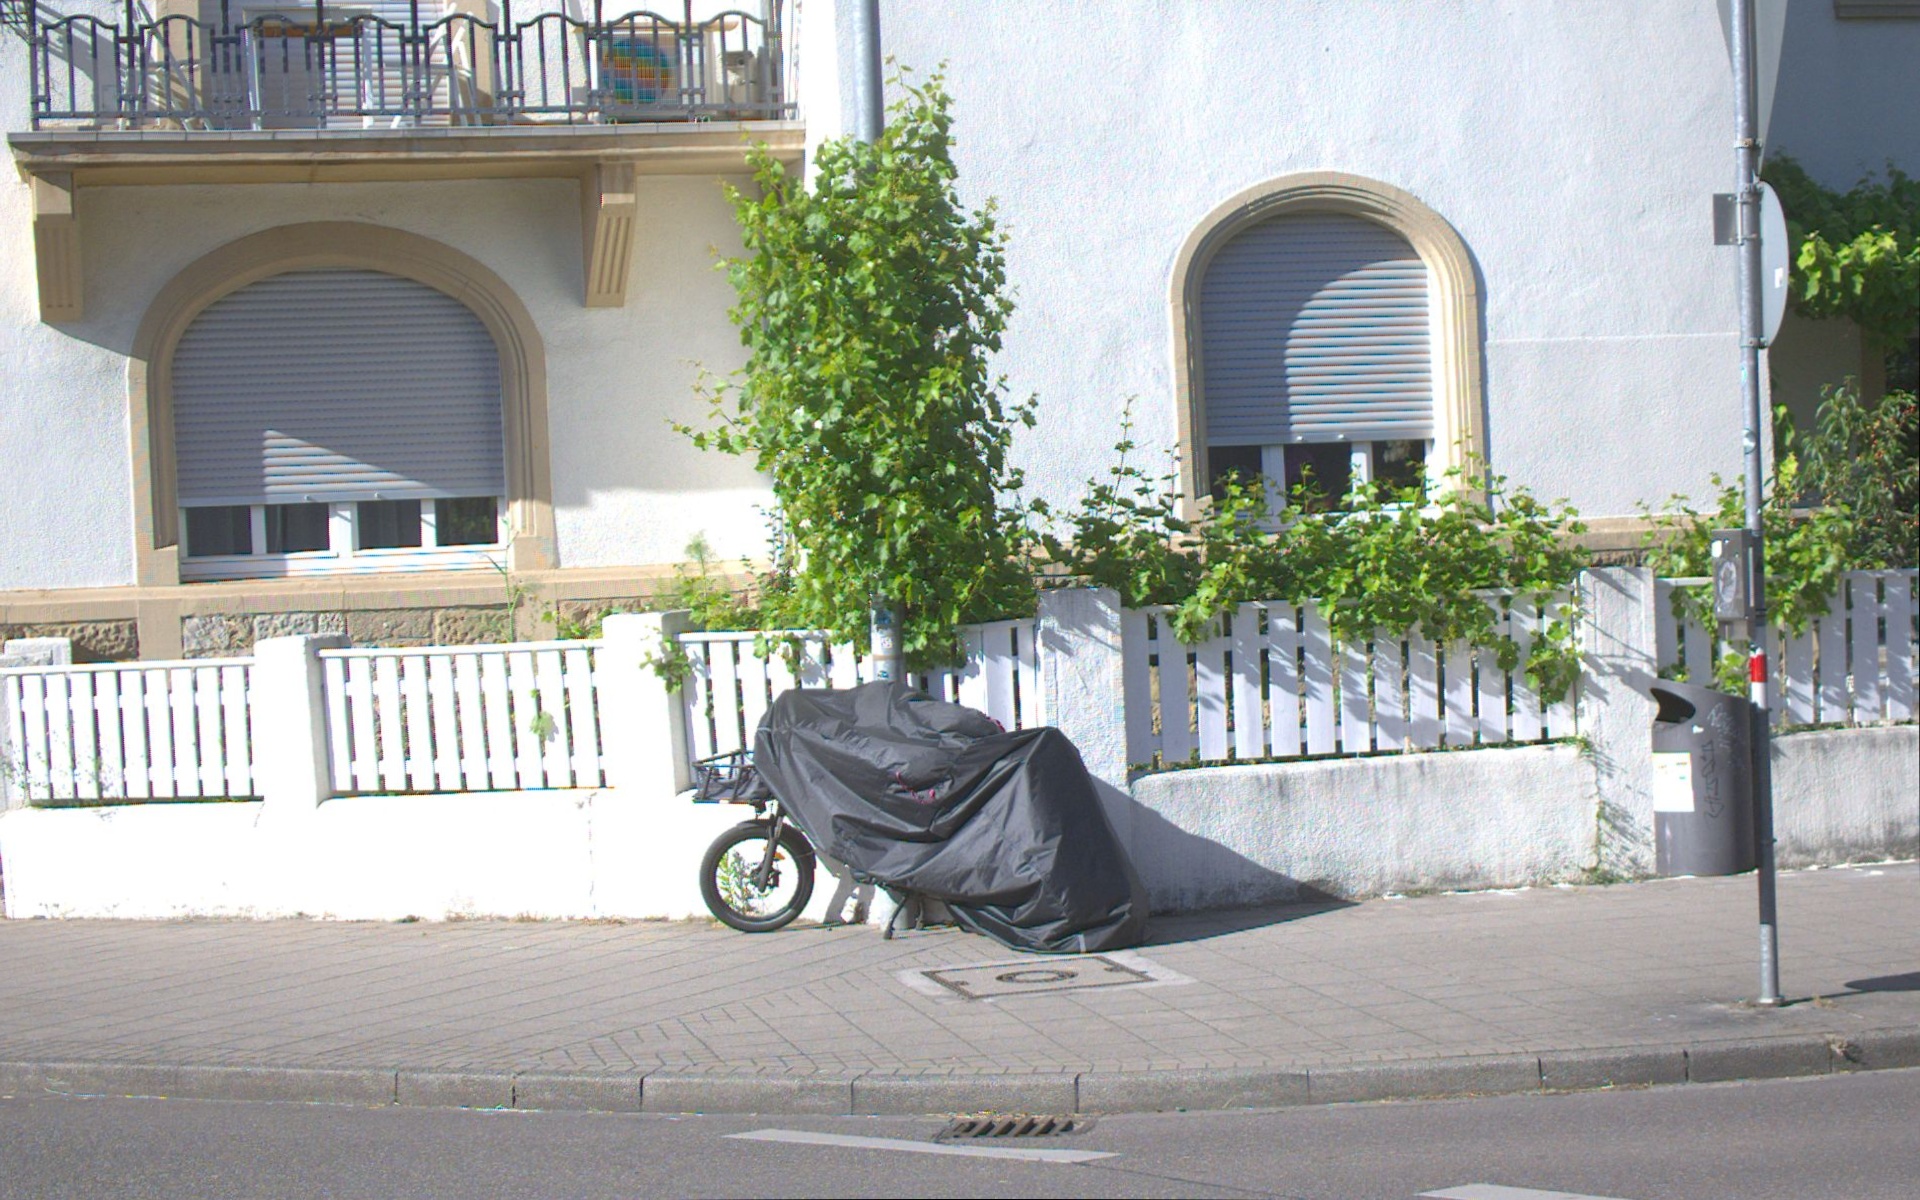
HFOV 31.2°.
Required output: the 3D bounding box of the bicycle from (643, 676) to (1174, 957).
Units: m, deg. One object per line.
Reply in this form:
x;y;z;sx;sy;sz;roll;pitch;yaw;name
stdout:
-0.251;0.939;15.315;2.282;1.153;0.765;-2;0;31;bicycle
